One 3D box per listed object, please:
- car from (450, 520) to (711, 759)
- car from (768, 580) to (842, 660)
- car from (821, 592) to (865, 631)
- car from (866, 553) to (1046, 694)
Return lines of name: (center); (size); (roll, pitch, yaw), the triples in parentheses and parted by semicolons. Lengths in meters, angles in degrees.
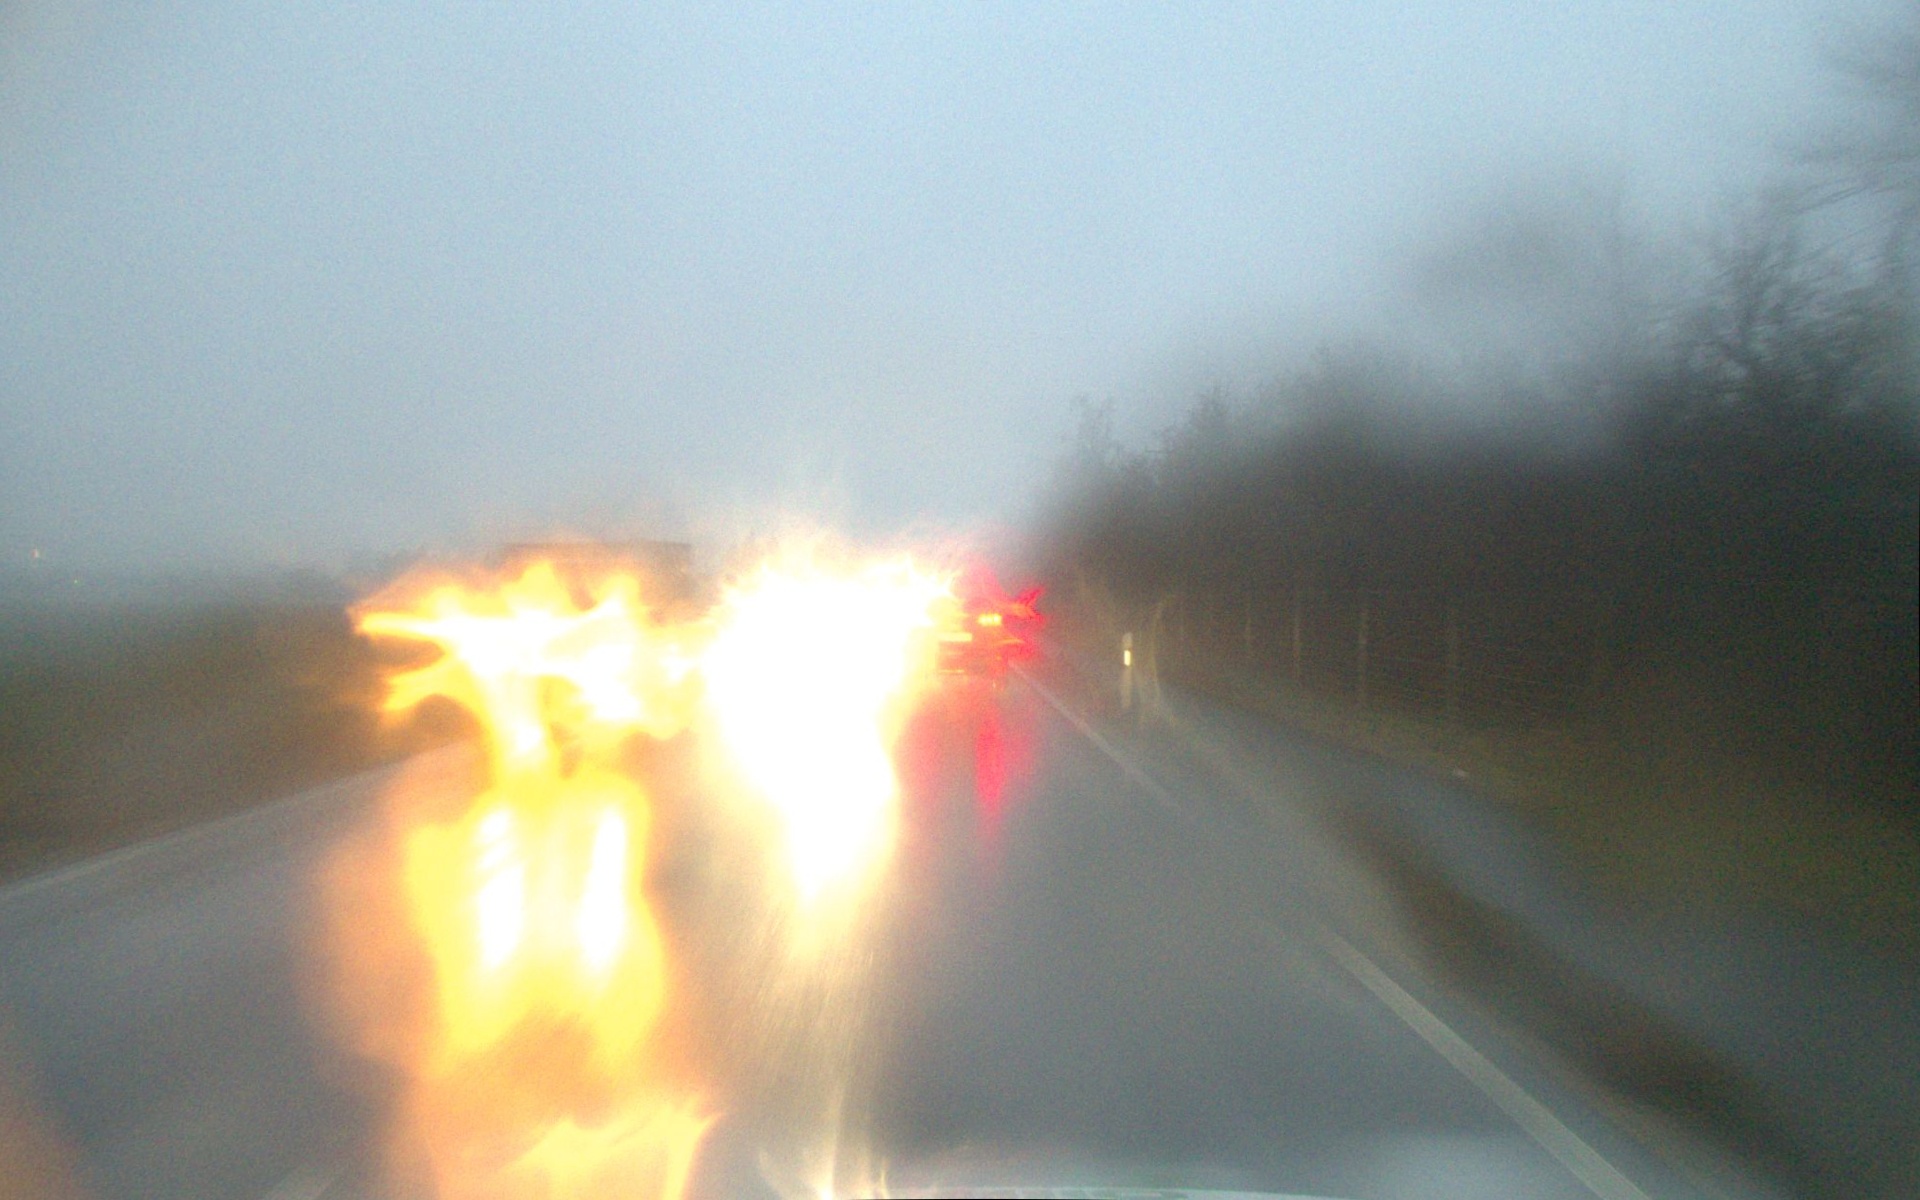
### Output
car: (-3.807, 0.356, 17.329); (1.876, 2.175, 4.311); (-1, 0, -2)
car: (-4.396, 0.543, 47.551); (1.876, 2.175, 4.311); (-1, 0, -2)
car: (-5.465, 0.516, 77.685); (1.876, 1.742, 4.311); (-1, 0, -2)
car: (-0.052, 0.363, 28.655); (2.762, 2.113, 5.804); (2, 0, 0)
